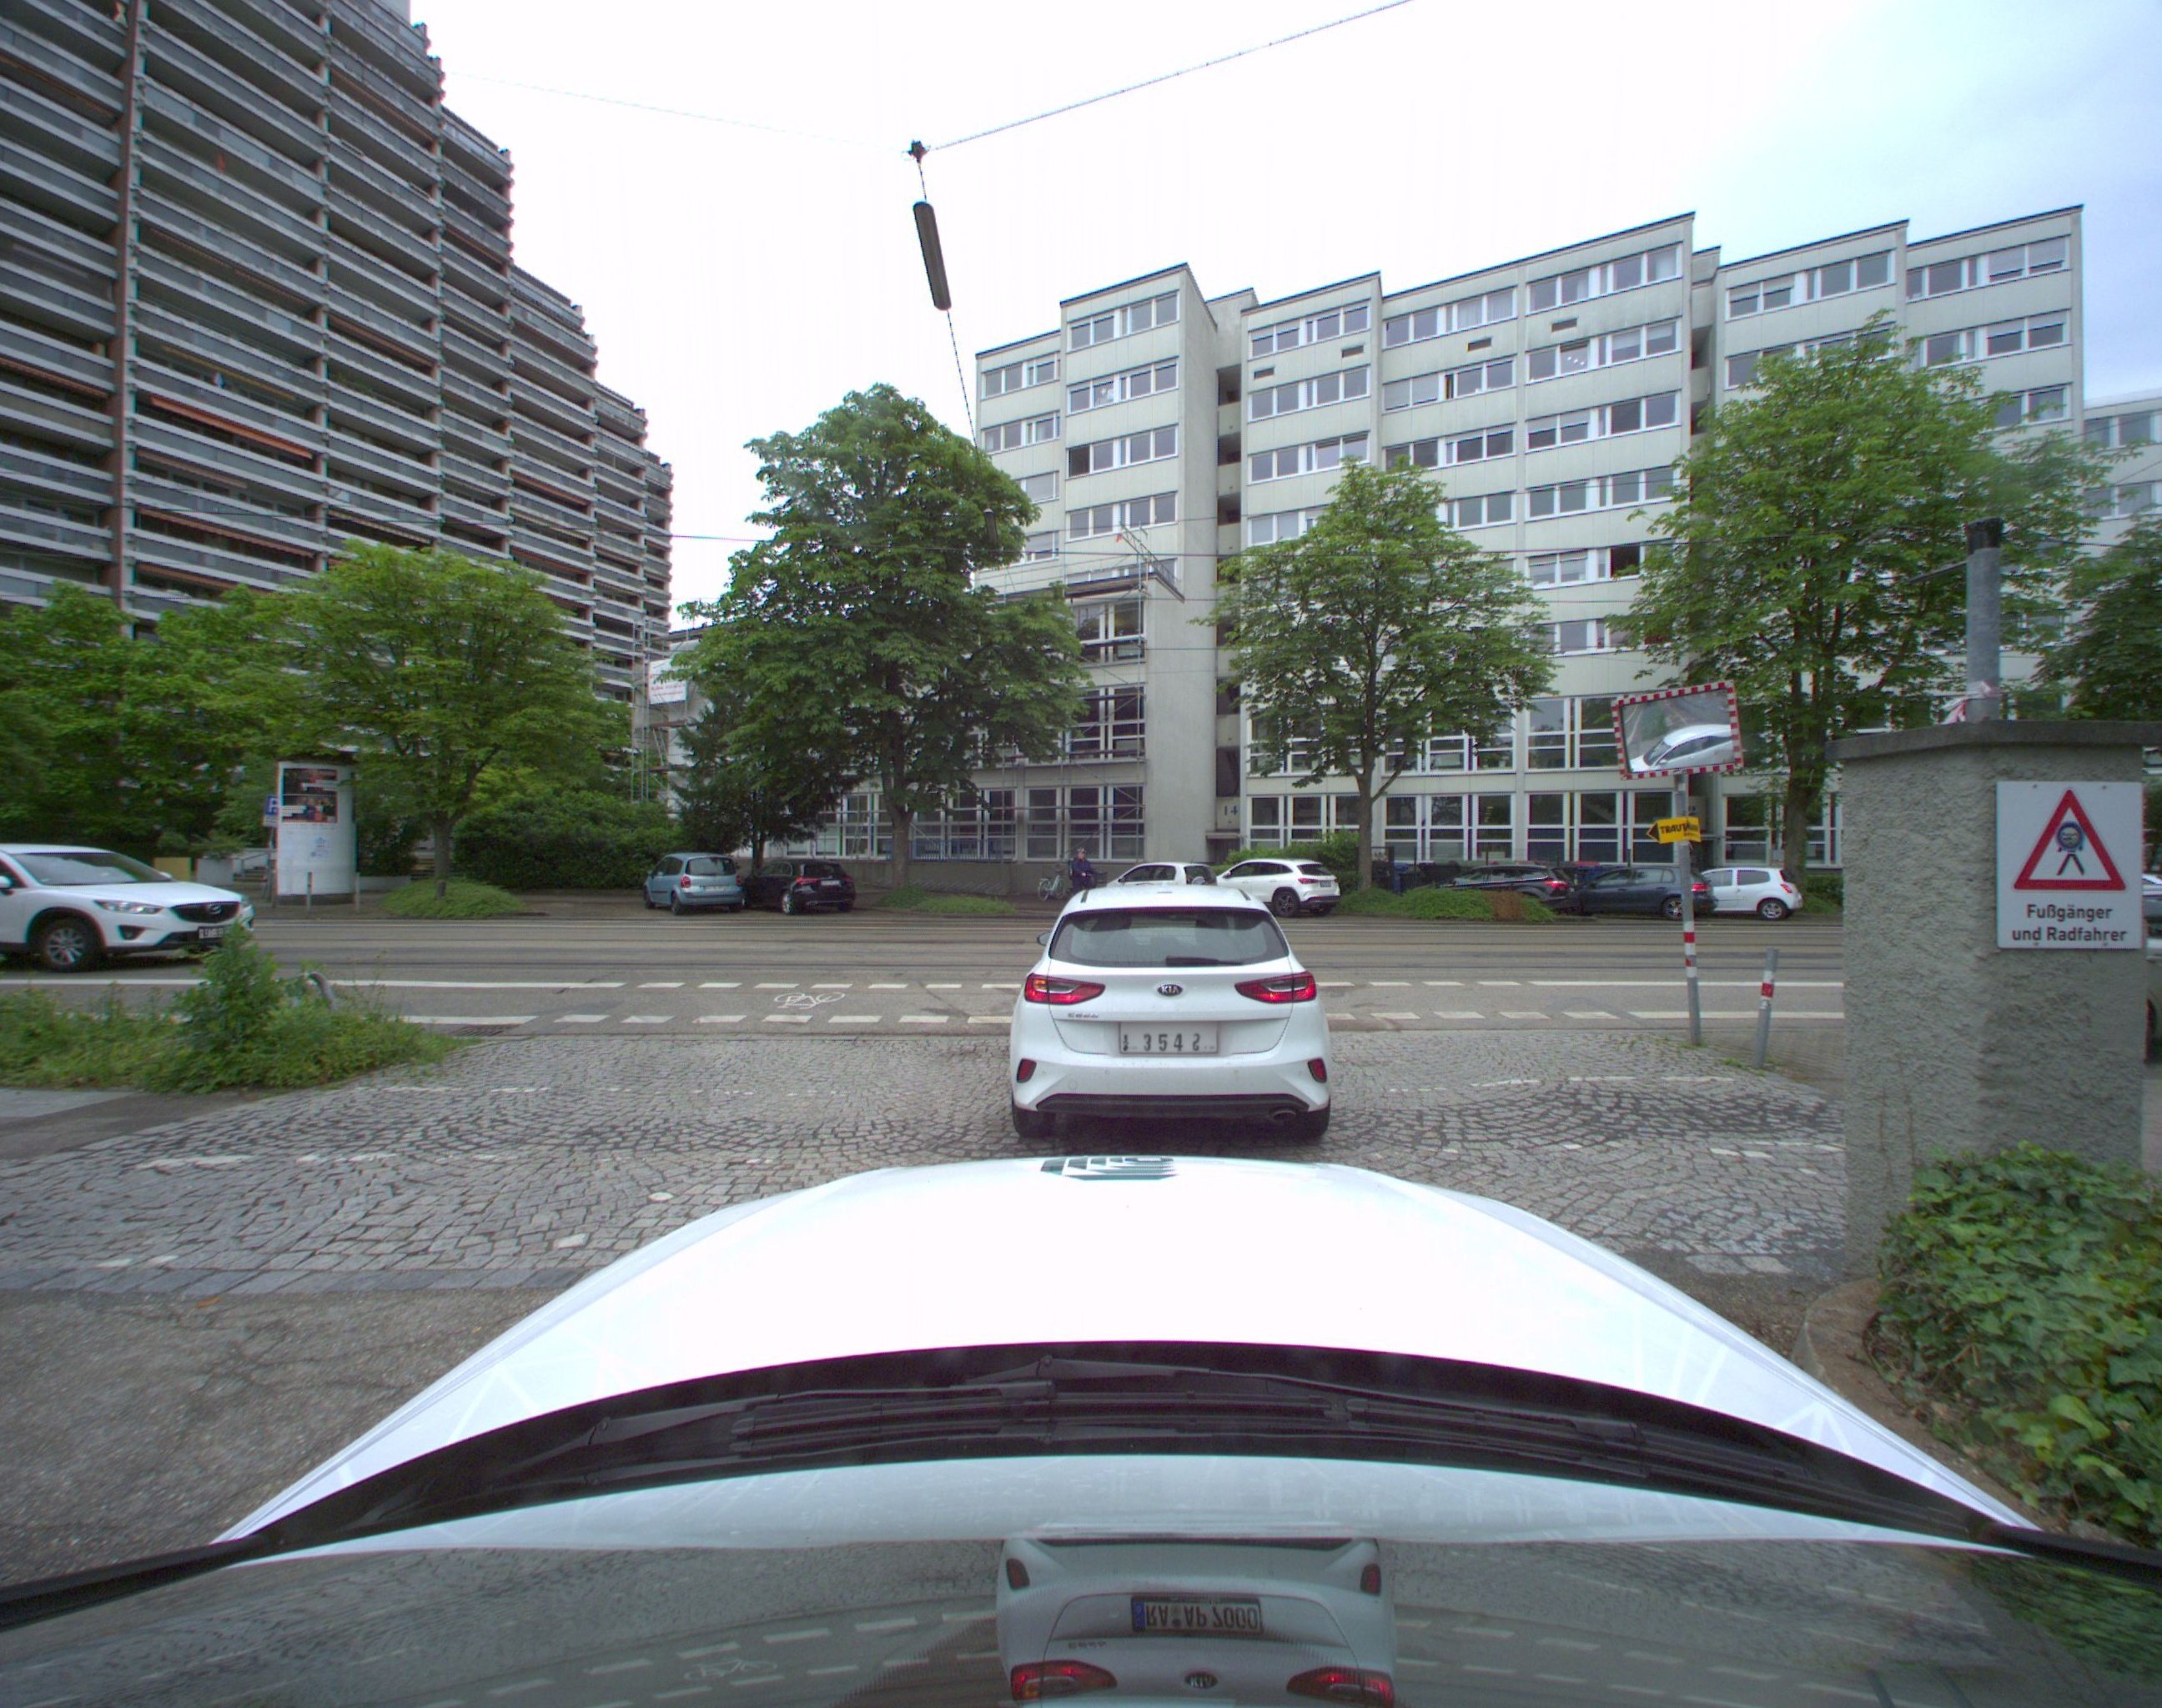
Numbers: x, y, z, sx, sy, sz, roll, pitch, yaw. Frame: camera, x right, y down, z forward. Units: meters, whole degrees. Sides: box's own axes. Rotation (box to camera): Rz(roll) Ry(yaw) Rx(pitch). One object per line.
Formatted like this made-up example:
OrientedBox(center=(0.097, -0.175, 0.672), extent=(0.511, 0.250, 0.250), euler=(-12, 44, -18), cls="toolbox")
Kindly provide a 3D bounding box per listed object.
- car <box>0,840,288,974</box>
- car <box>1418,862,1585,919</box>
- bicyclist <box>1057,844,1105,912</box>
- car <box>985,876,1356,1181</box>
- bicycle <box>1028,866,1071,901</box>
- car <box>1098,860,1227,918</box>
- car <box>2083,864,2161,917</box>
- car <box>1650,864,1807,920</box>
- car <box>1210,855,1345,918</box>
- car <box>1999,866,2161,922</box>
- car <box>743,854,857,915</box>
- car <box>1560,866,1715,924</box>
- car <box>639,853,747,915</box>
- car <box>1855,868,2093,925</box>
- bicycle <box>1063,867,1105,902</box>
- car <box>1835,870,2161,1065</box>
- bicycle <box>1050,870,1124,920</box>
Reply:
OrientedBox(center=(-14.429, 0.666, 11.414), extent=(4.572, 1.703, 1.999), euler=(0, 1, -1), cls="car")
OrientedBox(center=(11.912, 0.986, 23.205), extent=(3.904, 1.474, 1.684), euler=(-1, -1, 42), cls="car")
OrientedBox(center=(0.001, 0.597, 20.936), extent=(0.839, 1.698, 0.886), euler=(1, -1, -43), cls="bicyclist")
OrientedBox(center=(0.593, 0.890, 5.920), extent=(1.767, 1.433, 3.984), euler=(-1, -2, 5), cls="car")
OrientedBox(center=(-1.092, 1.016, 28.963), extent=(0.638, 1.074, 2.325), euler=(0, 2, 22), cls="bicycle")
OrientedBox(center=(2.200, 0.909, 22.475), extent=(1.565, 1.473, 3.367), euler=(0, -1, -42), cls="car")
OrientedBox(center=(31.560, 1.045, 23.405), extent=(1.425, 1.474, 3.348), euler=(0, -1, -44), cls="car")
OrientedBox(center=(18.433, 1.029, 23.274), extent=(1.425, 1.474, 3.348), euler=(0, -1, -44), cls="car")
OrientedBox(center=(5.436, 0.850, 22.777), extent=(1.565, 1.618, 3.367), euler=(0, -1, -42), cls="car")
OrientedBox(center=(28.650, 1.097, 23.110), extent=(1.425, 1.474, 3.348), euler=(0, -1, -44), cls="car")
OrientedBox(center=(-7.635, 0.772, 22.015), extent=(1.628, 1.511, 3.295), euler=(0, -1, -45), cls="car")
OrientedBox(center=(15.414, 1.072, 22.665), extent=(1.425, 1.474, 3.348), euler=(0, -1, -44), cls="car")
OrientedBox(center=(-10.543, 0.759, 22.038), extent=(1.628, 1.537, 3.296), euler=(0, -1, -45), cls="car")
OrientedBox(center=(25.302, 1.175, 23.342), extent=(4.441, 1.474, 1.425), euler=(-1, -4, 42), cls="car")
OrientedBox(center=(0.133, 1.038, 28.442), extent=(0.638, 1.074, 2.325), euler=(0, 2, 22), cls="bicycle")
OrientedBox(center=(9.229, 0.911, 7.233), extent=(3.570, 1.501, 1.665), euler=(0, 0, 0), cls="car")
OrientedBox(center=(0.133, 1.026, 20.781), extent=(0.826, 1.174, 1.892), euler=(1, 0, -43), cls="bicycle")
